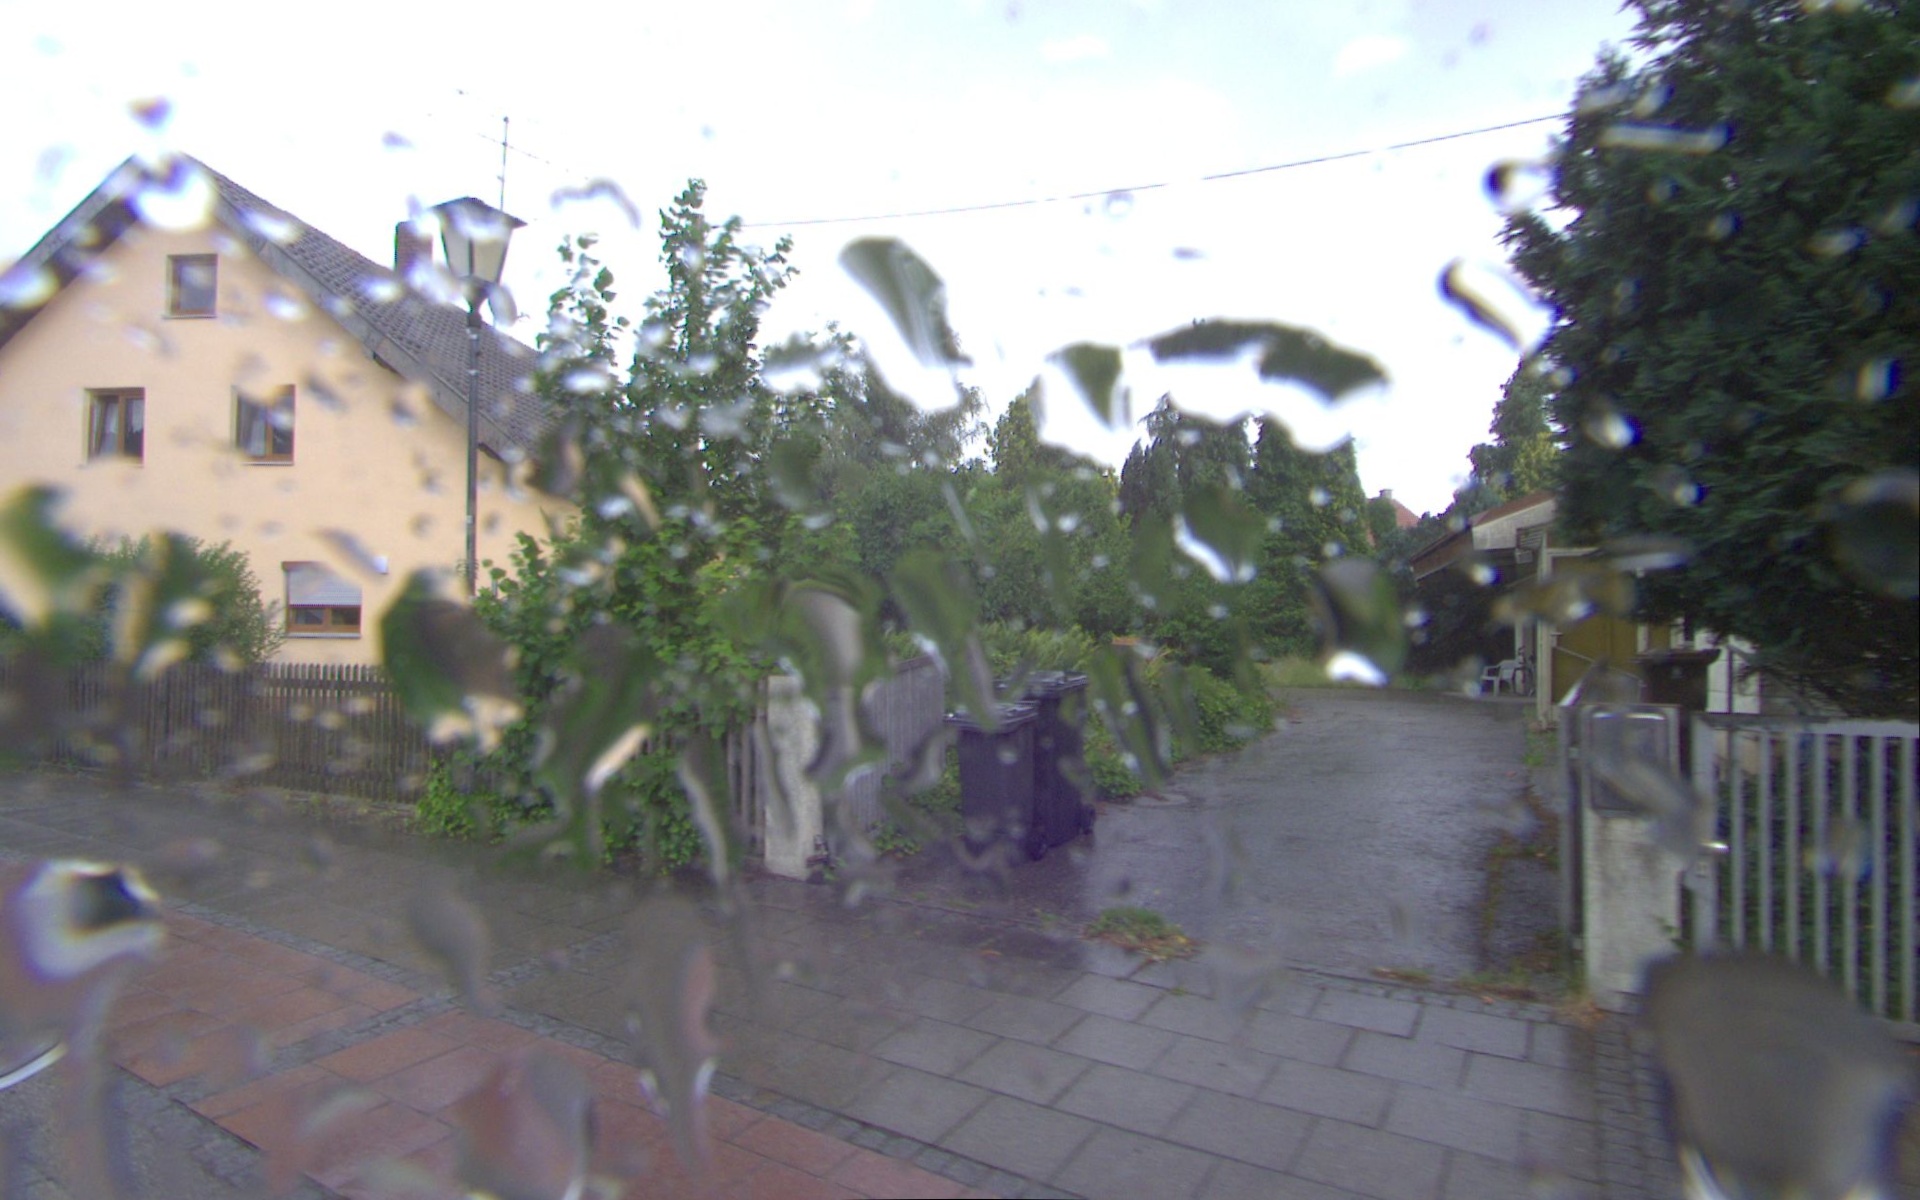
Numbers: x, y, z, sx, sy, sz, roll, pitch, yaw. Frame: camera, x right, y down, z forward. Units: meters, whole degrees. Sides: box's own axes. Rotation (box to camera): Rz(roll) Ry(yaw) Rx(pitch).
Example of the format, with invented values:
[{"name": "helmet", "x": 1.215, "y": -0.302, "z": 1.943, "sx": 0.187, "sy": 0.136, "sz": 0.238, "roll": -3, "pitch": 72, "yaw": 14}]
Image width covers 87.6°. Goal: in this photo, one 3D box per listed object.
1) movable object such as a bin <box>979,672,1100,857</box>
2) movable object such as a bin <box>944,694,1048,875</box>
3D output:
[{"name": "movable object such as a bin", "x": 0.508, "y": 1.008, "z": 6.355, "sx": 0.545, "sy": 1.054, "sz": 0.574, "roll": -1, "pitch": 1, "yaw": 33}, {"name": "movable object such as a bin", "x": 0.214, "y": 1.052, "z": 5.847, "sx": 0.440, "sy": 0.948, "sz": 0.432, "roll": -1, "pitch": 1, "yaw": 33}]
